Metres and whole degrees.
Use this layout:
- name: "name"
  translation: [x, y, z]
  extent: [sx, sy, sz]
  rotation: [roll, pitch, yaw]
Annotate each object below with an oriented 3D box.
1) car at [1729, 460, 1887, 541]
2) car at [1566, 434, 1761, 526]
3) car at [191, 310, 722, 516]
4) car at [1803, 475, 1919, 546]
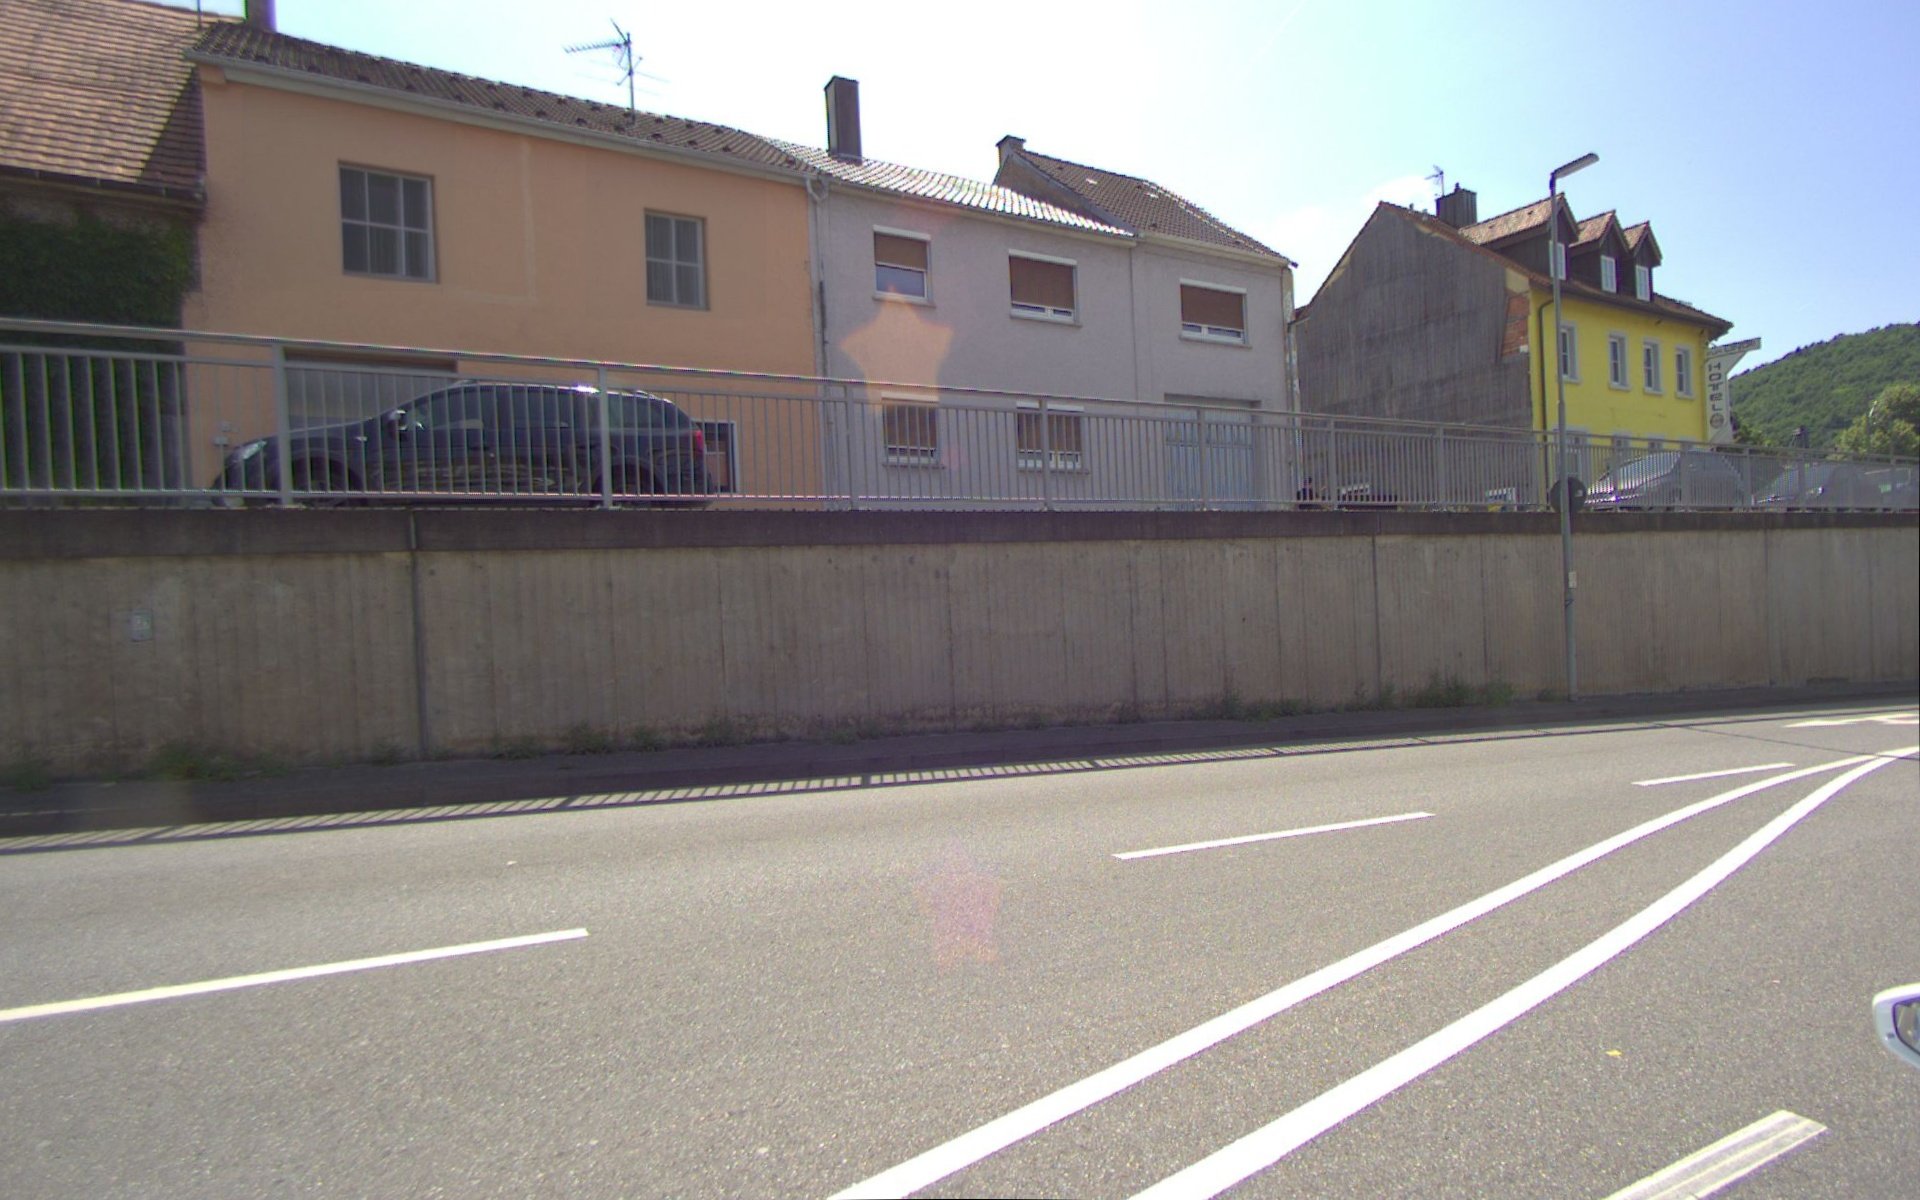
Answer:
- name: "car"
  translation: [21.150, -2.400, 25.020]
  extent: [4.174, 1.728, 1.813]
  rotation: [-2, 0, -32]
- name: "car"
  translation: [14.780, -2.422, 21.046]
  extent: [4.343, 1.545, 1.789]
  rotation: [-2, 0, -32]
- name: "car"
  translation: [-4.769, -1.660, 9.981]
  extent: [4.343, 1.424, 1.776]
  rotation: [-2, 0, -32]
- name: "car"
  translation: [25.124, -2.381, 27.564]
  extent: [3.954, 1.690, 1.892]
  rotation: [-2, 0, -31]
